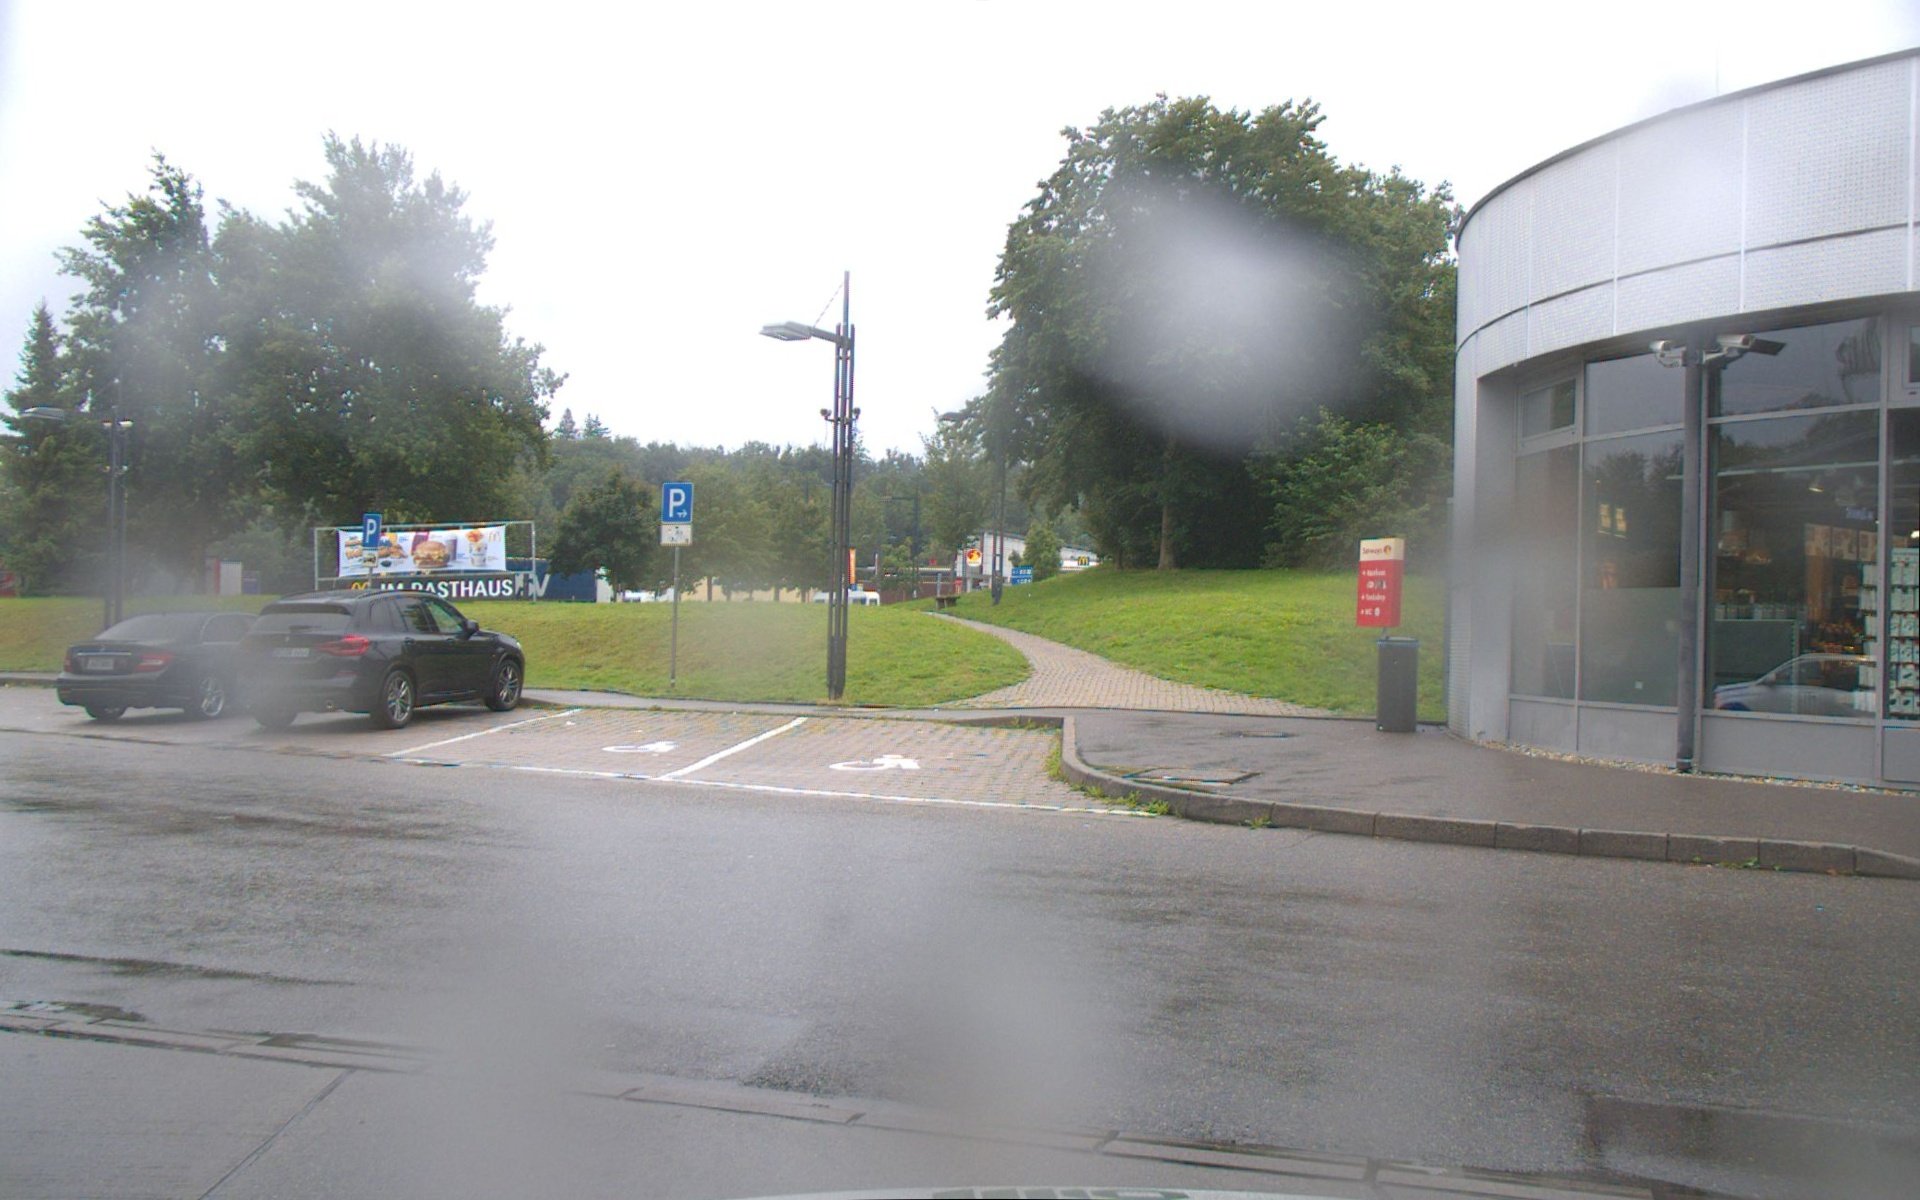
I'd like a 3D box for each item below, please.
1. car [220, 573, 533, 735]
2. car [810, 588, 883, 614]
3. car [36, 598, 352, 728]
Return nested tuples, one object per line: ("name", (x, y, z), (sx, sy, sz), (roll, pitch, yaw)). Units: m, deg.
("car", (-7.330, 0.610, 21.312), (1.844, 1.860, 4.417), (0, 0, 11))
("car", (-9.164, 0.065, 133.621), (5.310, 2.049, 2.456), (1, 0, 19))
("car", (-10.356, 0.783, 22.751), (1.844, 1.592, 4.189), (0, 0, 11))
